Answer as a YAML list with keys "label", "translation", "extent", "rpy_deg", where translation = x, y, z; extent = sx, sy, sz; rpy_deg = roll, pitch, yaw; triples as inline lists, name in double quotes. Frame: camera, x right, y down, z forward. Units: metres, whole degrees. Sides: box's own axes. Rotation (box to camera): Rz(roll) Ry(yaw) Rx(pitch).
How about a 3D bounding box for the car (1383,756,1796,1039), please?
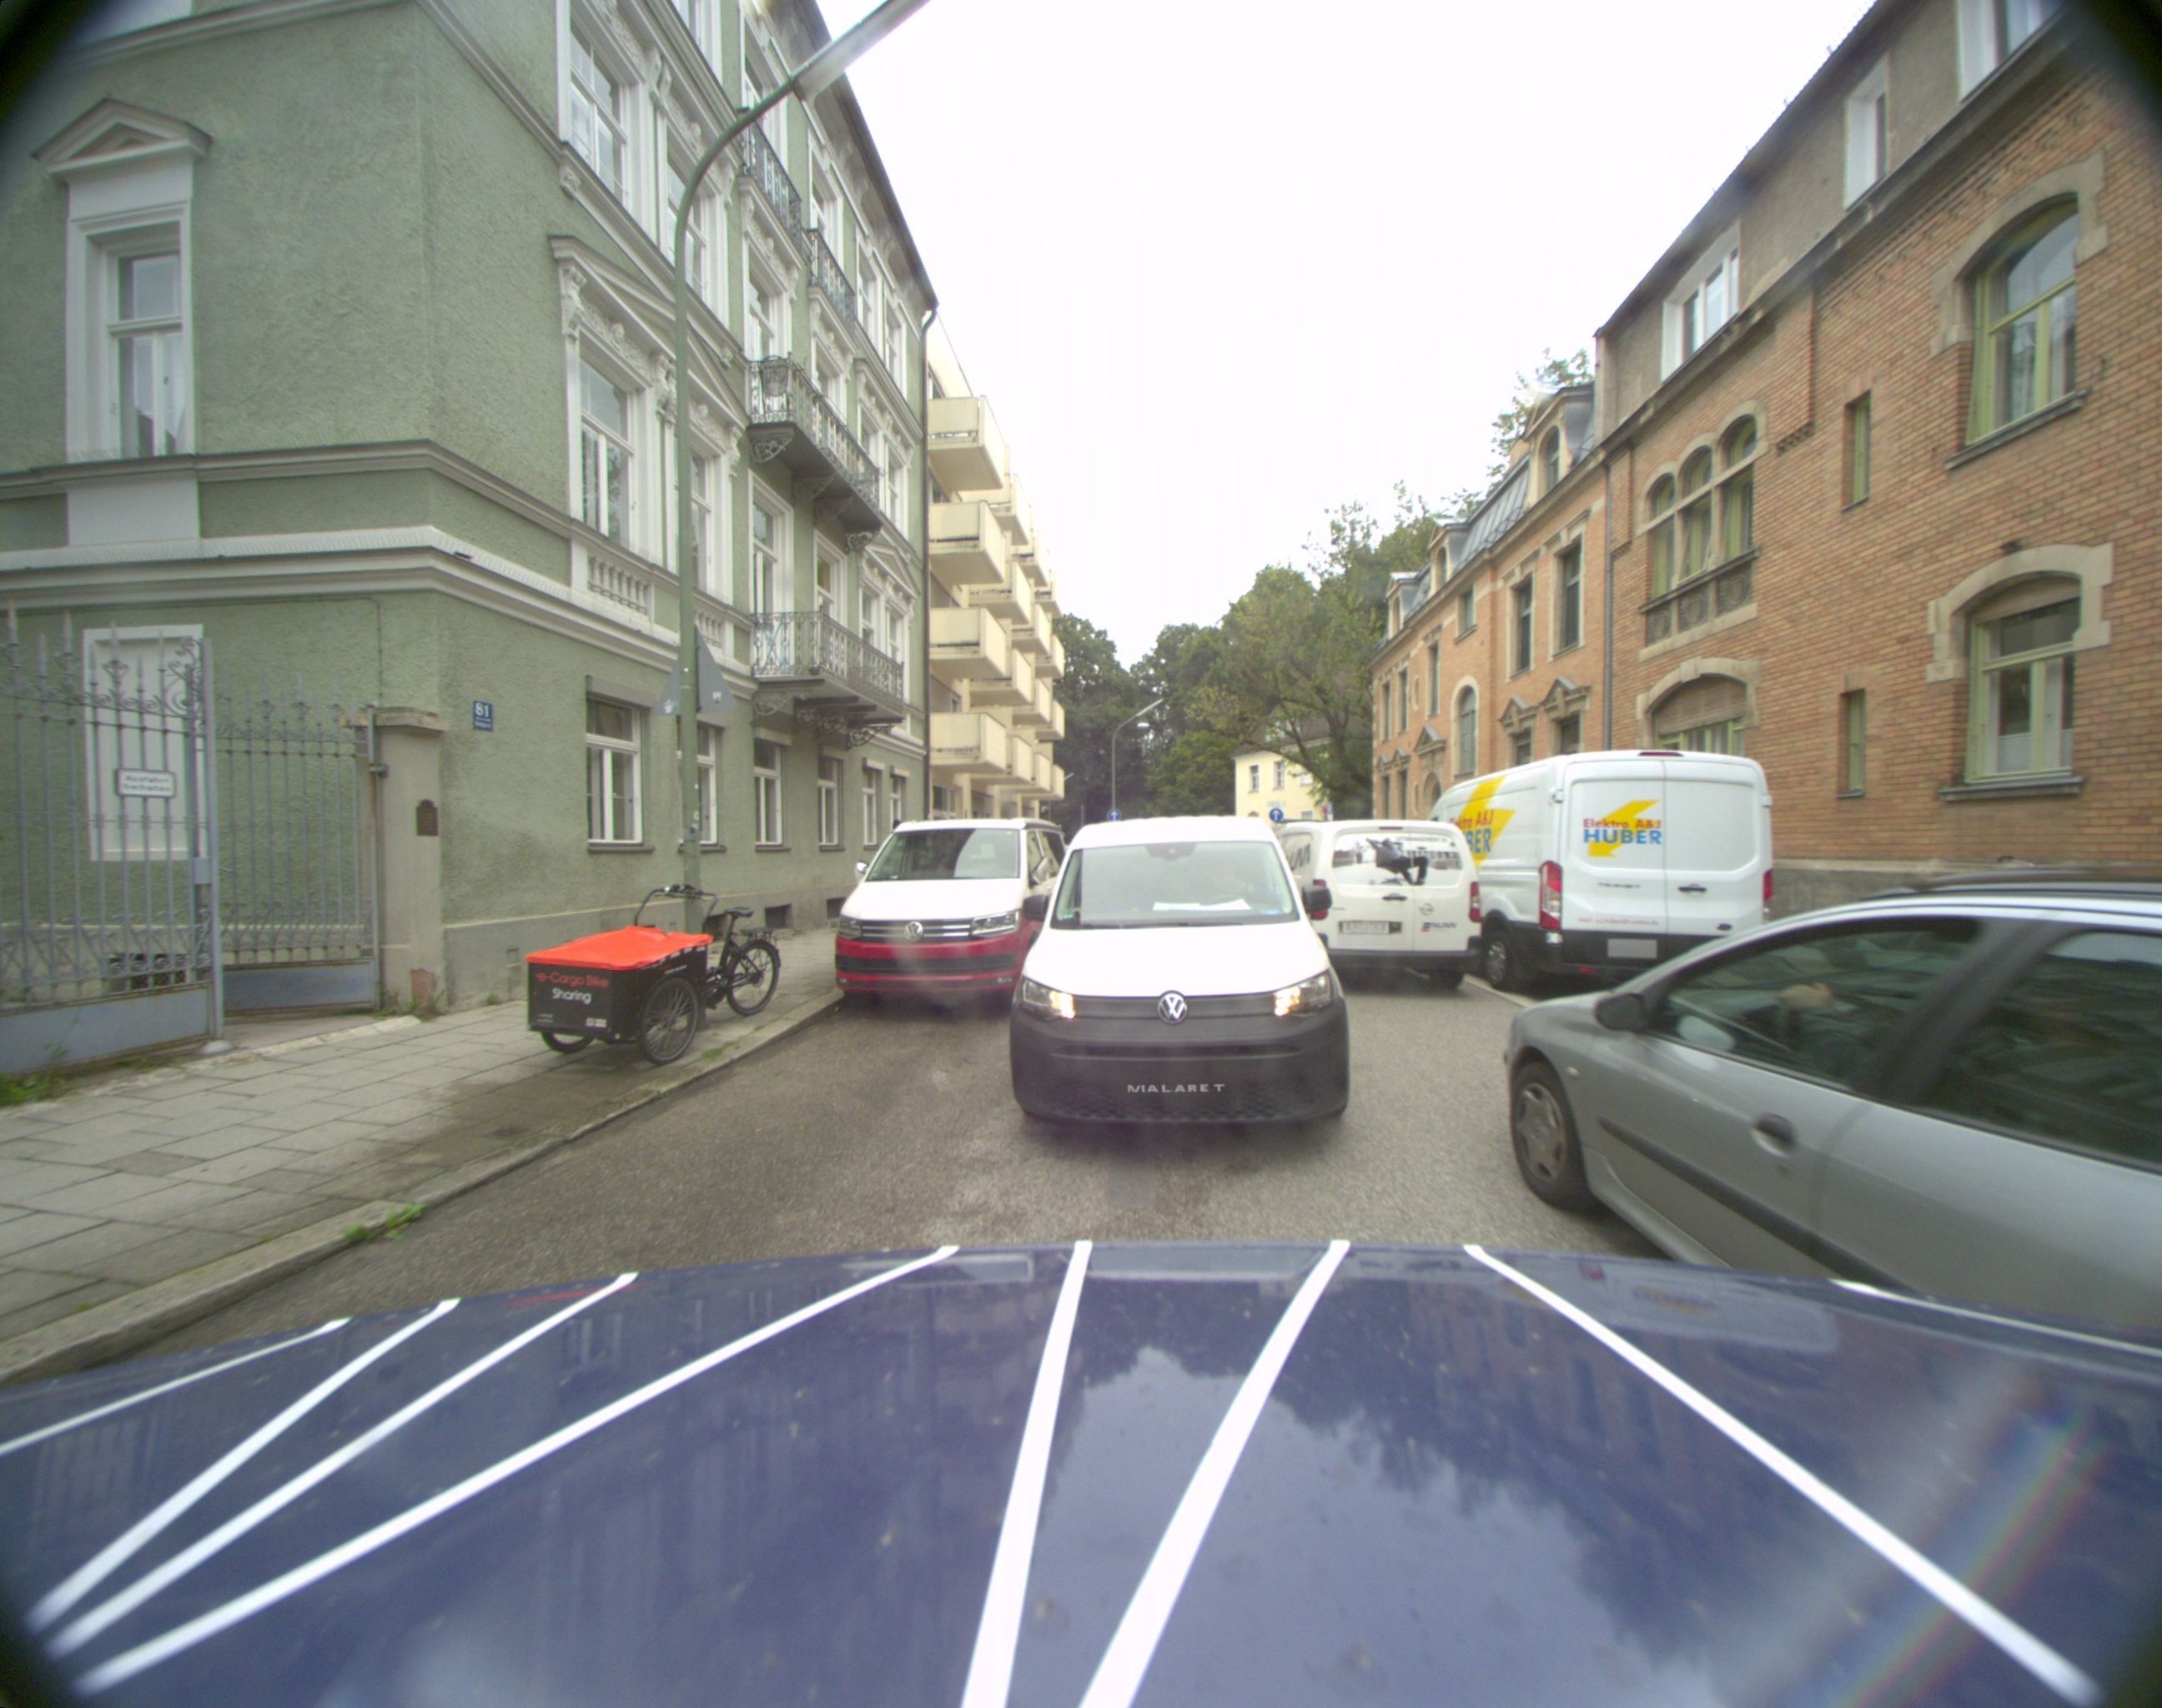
- label: "car"
  translation: [5.506, 0.335, 9.342]
  extent: [1.985, 2.464, 5.225]
  rpy_deg: [1, 1, 6]

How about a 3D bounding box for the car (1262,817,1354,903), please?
- label: "car"
  translation: [7.431, 0.181, 25.353]
  extent: [2.117, 2.525, 4.423]
  rpy_deg: [2, 1, 7]

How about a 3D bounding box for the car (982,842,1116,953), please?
- label: "car"
  translation: [-0.422, 0.715, 14.605]
  extent: [1.831, 1.747, 4.555]
  rpy_deg: [-2, 0, 6]

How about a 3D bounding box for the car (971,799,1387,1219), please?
- label: "car"
  translation: [0.653, 0.633, 5.269]
  extent: [1.775, 1.761, 4.002]
  rpy_deg: [0, 1, 8]

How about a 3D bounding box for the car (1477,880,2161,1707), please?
- label: "car"
  translation: [2.417, 0.866, 1.656]
  extent: [1.584, 1.403, 3.614]
  rpy_deg: [0, 1, 7]

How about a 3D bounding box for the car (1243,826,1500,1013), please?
- label: "car"
  translation: [3.273, 0.606, 9.603]
  extent: [1.775, 1.793, 4.573]
  rpy_deg: [0, 1, 4]

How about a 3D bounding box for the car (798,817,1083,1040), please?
- label: "car"
  translation: [-1.244, 0.650, 8.913]
  extent: [1.857, 1.885, 4.594]
  rpy_deg: [-3, 0, 8]

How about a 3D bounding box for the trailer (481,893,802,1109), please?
- label: "trailer"
  translation: [-3.242, 0.993, 5.950]
  extent: [0.943, 1.177, 2.166]
  rpy_deg: [3, 2, 11]

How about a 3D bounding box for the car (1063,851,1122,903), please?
- label: "car"
  translation: [0.473, 0.710, 25.631]
  extent: [1.550, 1.562, 3.979]
  rpy_deg: [-2, 0, 6]

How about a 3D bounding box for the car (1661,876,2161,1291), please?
- label: "car"
  translation: [4.961, 0.919, 3.508]
  extent: [1.693, 1.434, 4.147]
  rpy_deg: [1, 1, 6]
